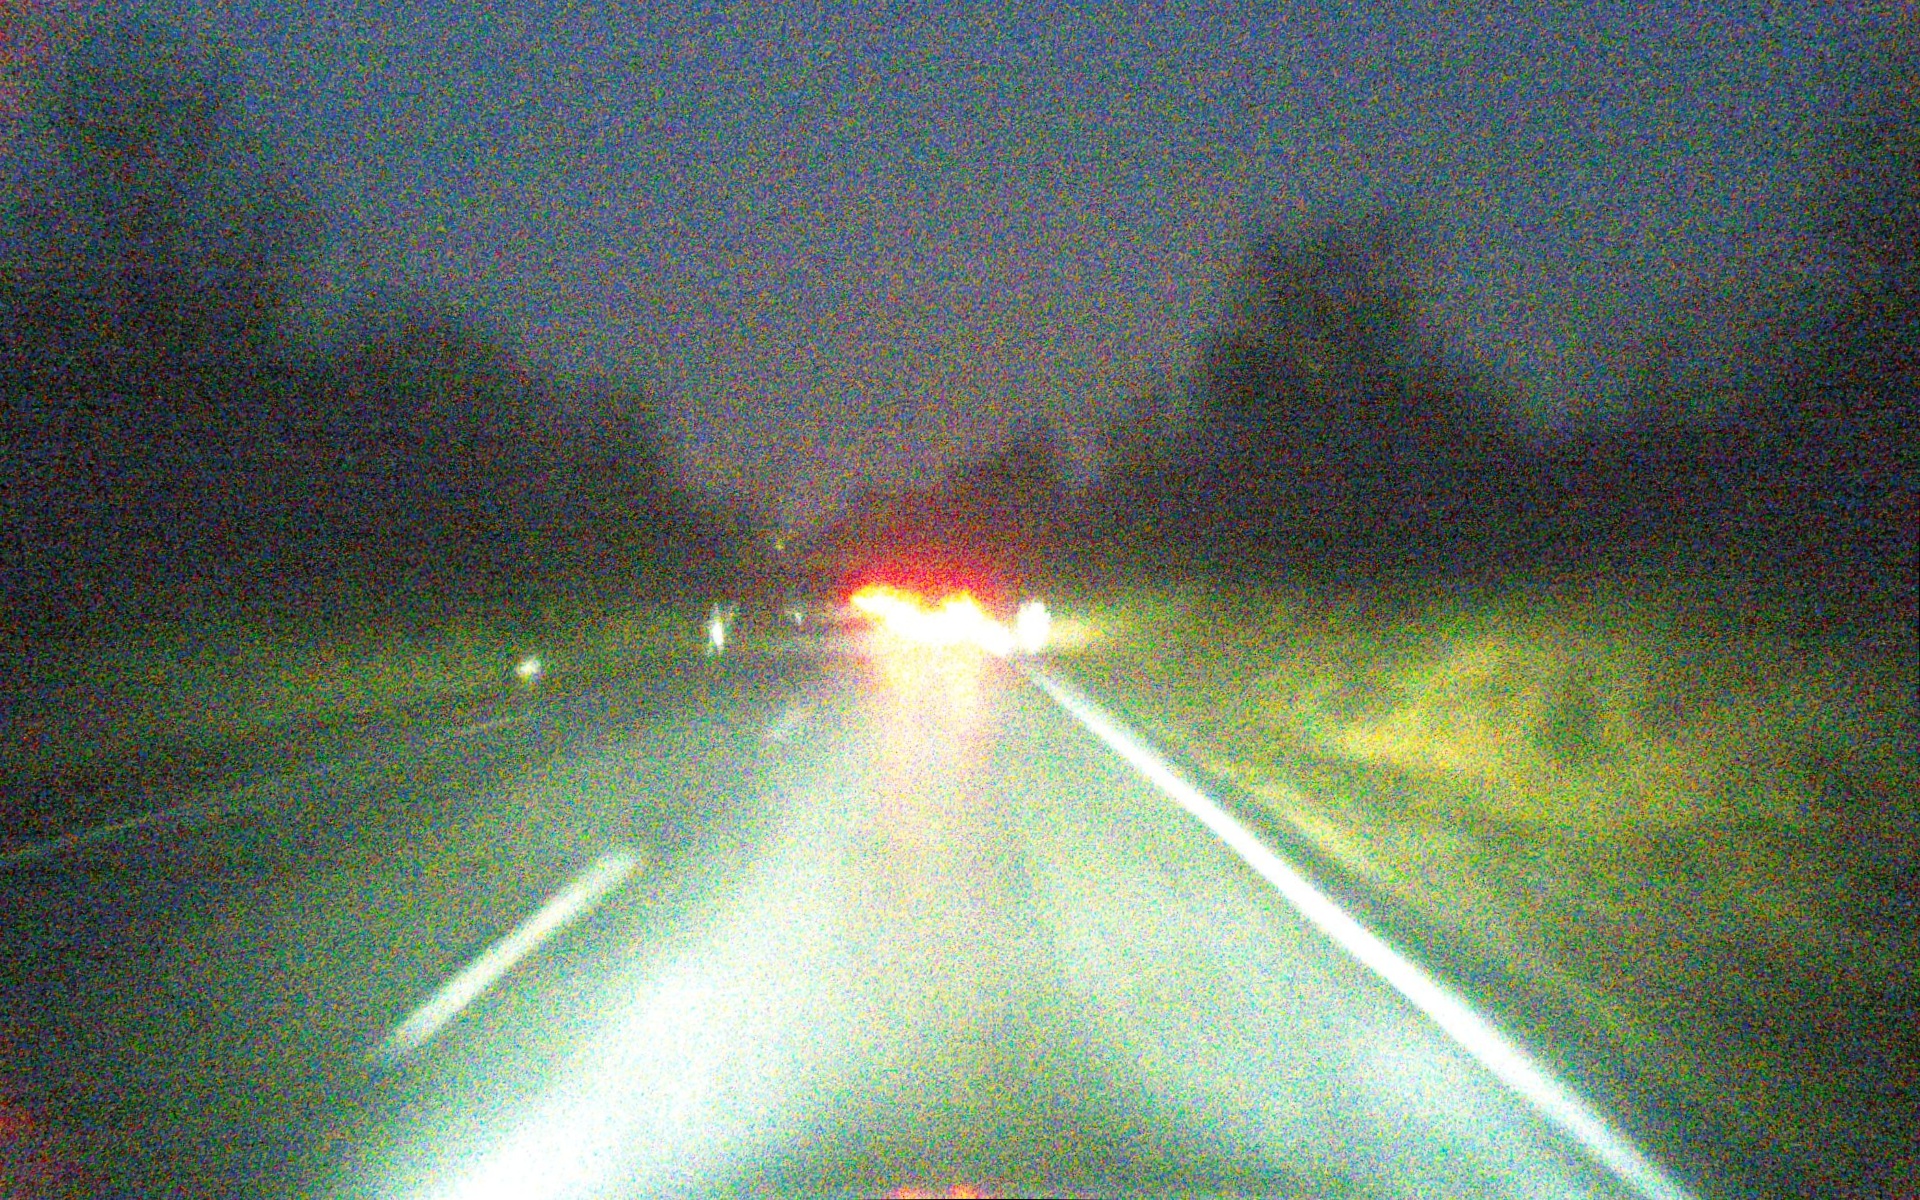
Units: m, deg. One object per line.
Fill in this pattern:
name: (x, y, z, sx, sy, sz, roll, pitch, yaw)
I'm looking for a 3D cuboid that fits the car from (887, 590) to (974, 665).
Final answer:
car: (-0.693, 0.632, 39.887, 1.953, 1.656, 4.983, 1, 0, -1)
